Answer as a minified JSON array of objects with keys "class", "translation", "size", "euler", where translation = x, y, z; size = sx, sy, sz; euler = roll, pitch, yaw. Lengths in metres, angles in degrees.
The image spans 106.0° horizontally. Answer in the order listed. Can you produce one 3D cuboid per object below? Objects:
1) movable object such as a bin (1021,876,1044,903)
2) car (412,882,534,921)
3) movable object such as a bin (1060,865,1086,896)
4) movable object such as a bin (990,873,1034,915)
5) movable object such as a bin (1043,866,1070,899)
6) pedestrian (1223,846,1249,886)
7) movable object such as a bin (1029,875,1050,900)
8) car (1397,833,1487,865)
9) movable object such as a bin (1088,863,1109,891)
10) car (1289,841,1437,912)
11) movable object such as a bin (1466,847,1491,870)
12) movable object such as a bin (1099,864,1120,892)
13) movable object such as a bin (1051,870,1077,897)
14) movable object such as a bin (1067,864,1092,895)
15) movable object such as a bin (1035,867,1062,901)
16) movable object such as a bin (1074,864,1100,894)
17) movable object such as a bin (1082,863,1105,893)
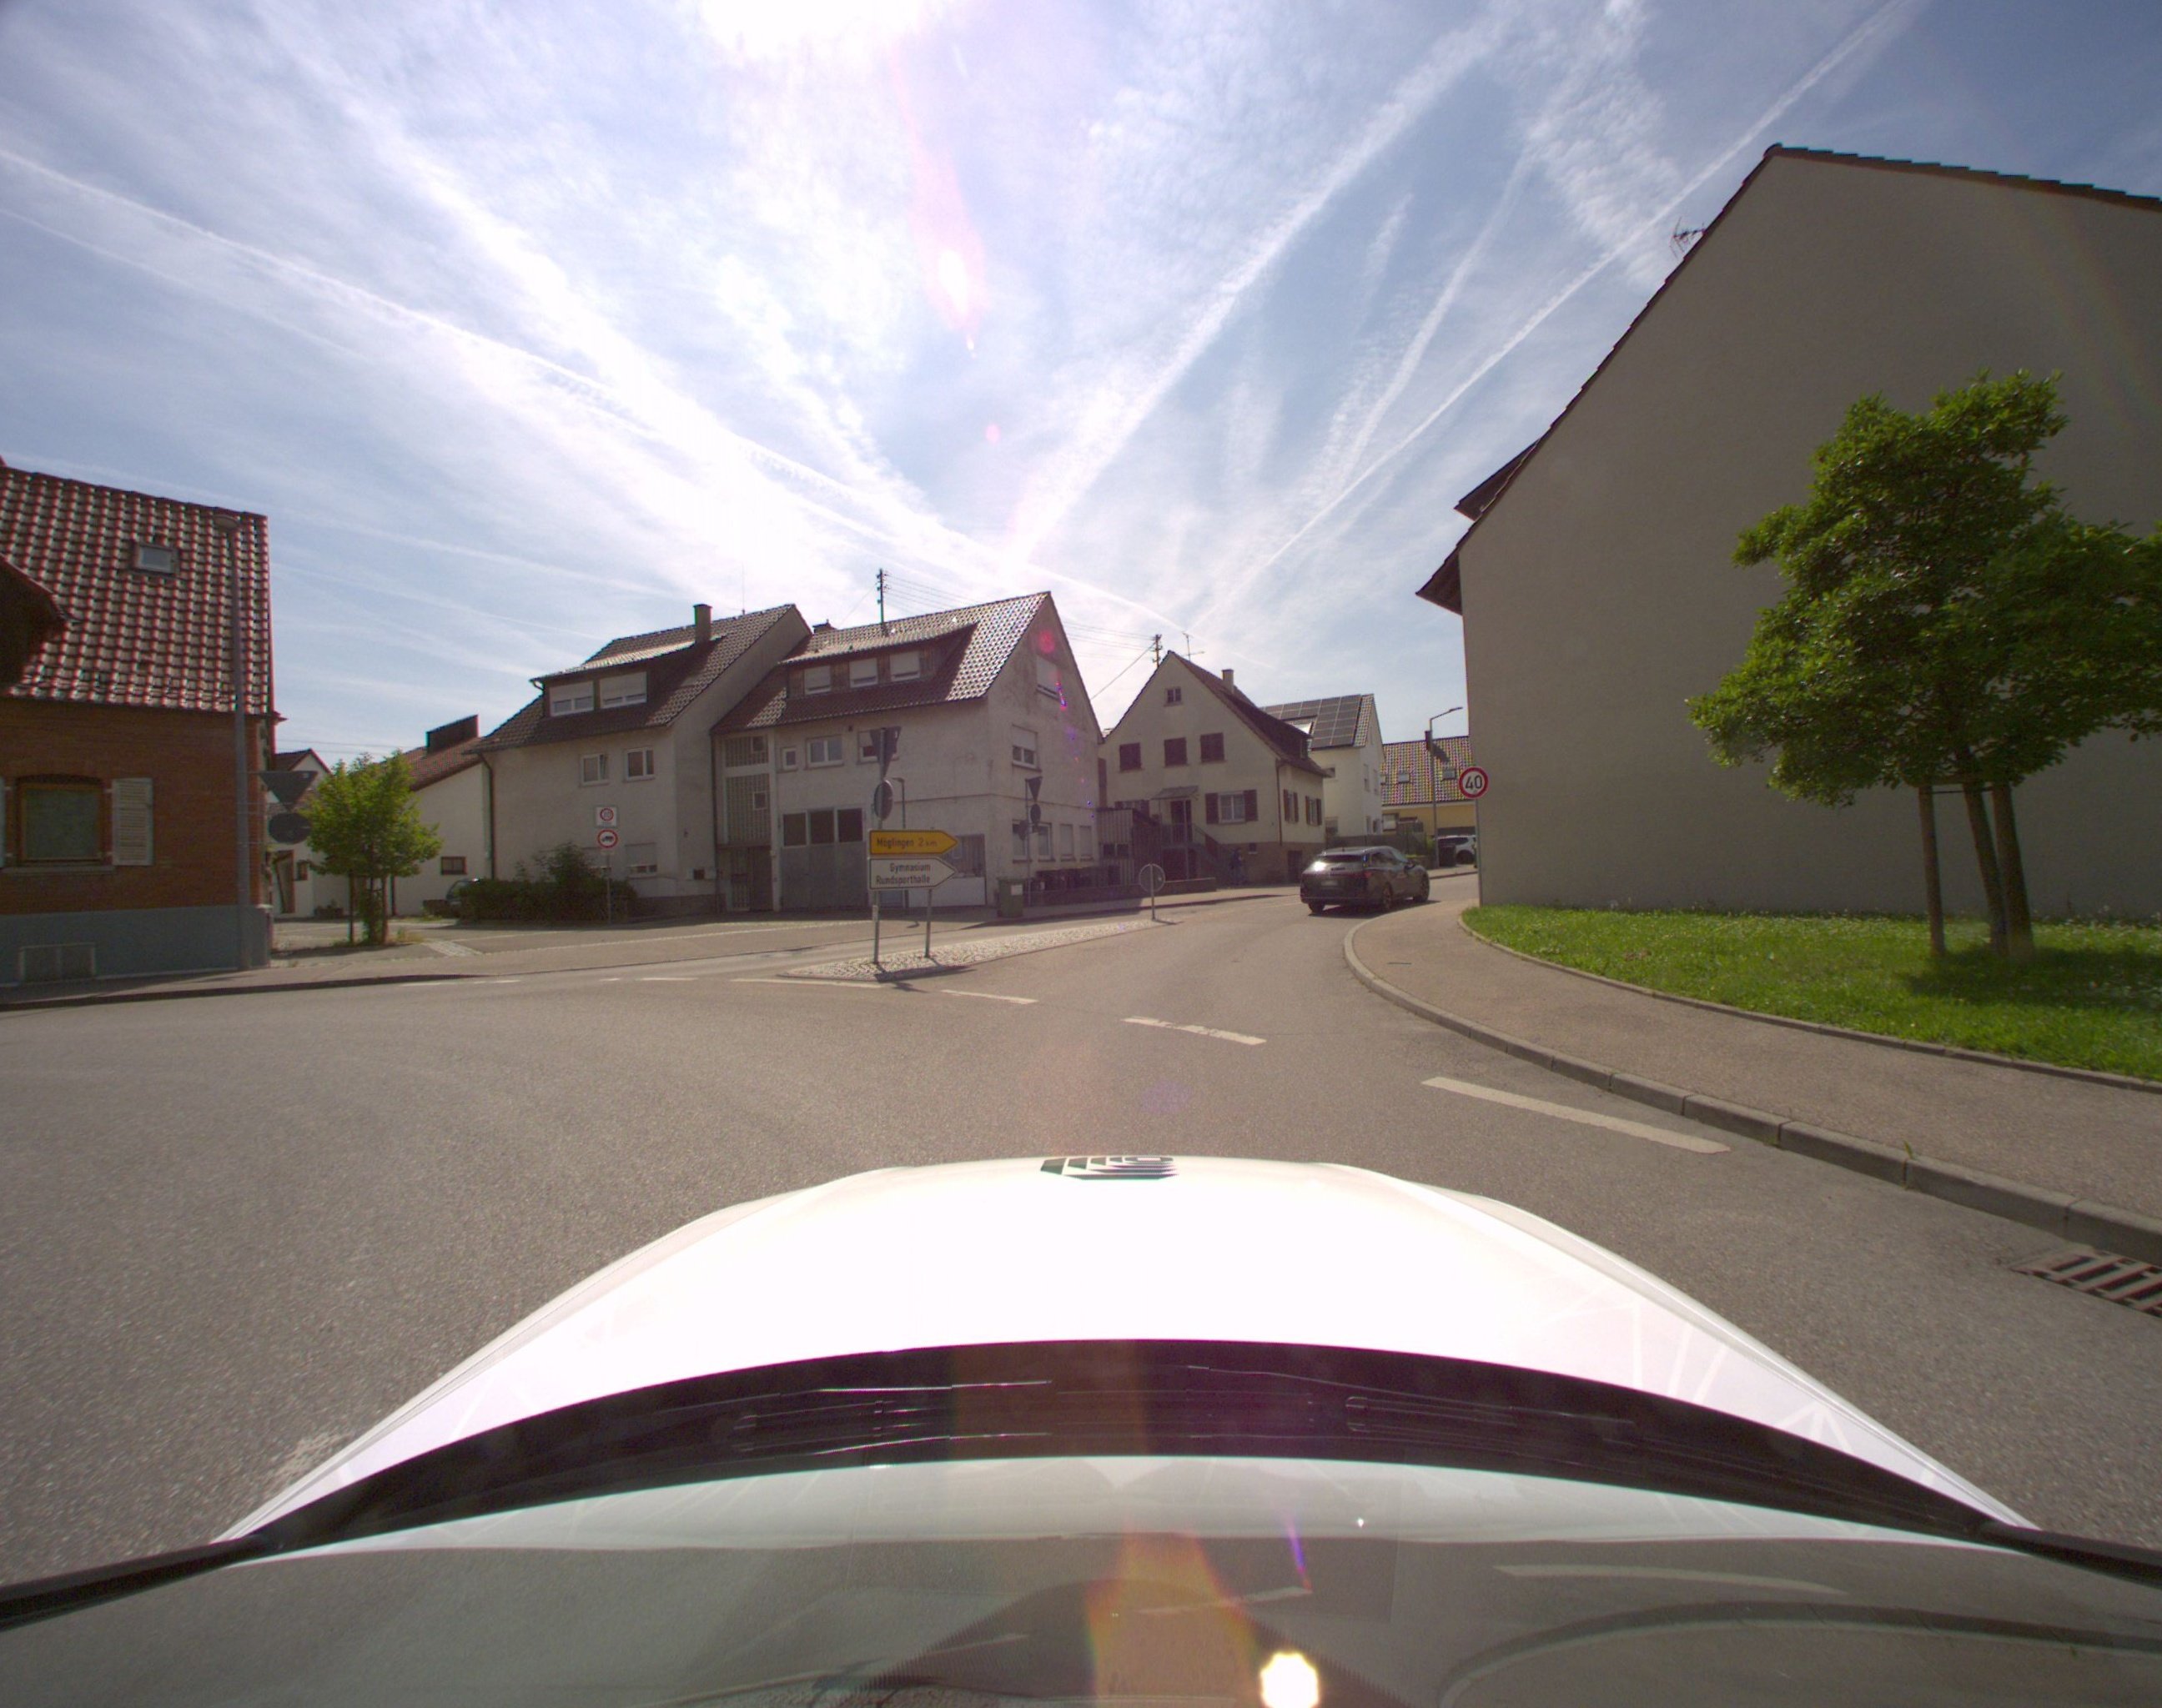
[{"class":"movable object such as a bin","translation":[-1.552,1.129,26.064],"size":[0.481,0.805,0.650],"euler":[-2,0,22]},{"class":"car","translation":[-23.379,1.806,31.434],"size":[1.474,1.251,3.429],"euler":[-2,0,25]},{"class":"movable object such as a bin","translation":[-0.286,0.945,29.150],"size":[0.677,1.082,0.702],"euler":[-2,0,20]},{"class":"movable object such as a bin","translation":[-1.797,1.030,21.285],"size":[0.830,1.045,0.803],"euler":[-3,0,-33]},{"class":"movable object such as a bin","translation":[-0.838,0.970,27.804],"size":[0.677,1.086,0.702],"euler":[-2,0,20]},{"class":"pedestrian","translation":[6.343,0.483,33.387],"size":[0.769,1.574,0.632],"euler":[-3,0,38]},{"class":"movable object such as a bin","translation":[-1.348,1.097,26.615],"size":[0.481,0.780,0.530],"euler":[-2,0,20]},{"class":"car","translation":[20.620,-0.248,46.572],"size":[4.358,1.622,2.013],"euler":[-3,-1,34]},{"class":"movable object such as a bin","translation":[0.684,0.903,31.462],"size":[0.622,1.035,0.607],"euler":[-2,0,20]},{"class":"car","translation":[6.862,0.468,19.490],"size":[1.823,1.420,4.712],"euler":[-2,0,39]},{"class":"movable object such as a bin","translation":[19.226,0.208,39.359],"size":[0.823,1.077,0.818],"euler":[-3,0,-43]},{"class":"movable object such as a bin","translation":[1.116,0.944,32.011],"size":[0.623,1.034,0.616],"euler":[-2,0,20]},{"class":"movable object such as a bin","translation":[-0.593,1.035,28.490],"size":[0.677,0.896,0.702],"euler":[-2,0,20]},{"class":"movable object such as a bin","translation":[-0.051,0.928,29.752],"size":[0.677,1.082,0.629],"euler":[-2,0,20]},{"class":"movable object such as a bin","translation":[-1.079,0.992,27.142],"size":[0.677,1.086,0.648],"euler":[-2,0,20]},{"class":"movable object such as a bin","translation":[0.212,0.930,30.192],"size":[0.732,1.082,0.663],"euler":[-2,0,20]},{"class":"movable object such as a bin","translation":[0.459,0.918,30.805],"size":[0.672,1.082,0.587],"euler":[-2,0,20]}]
